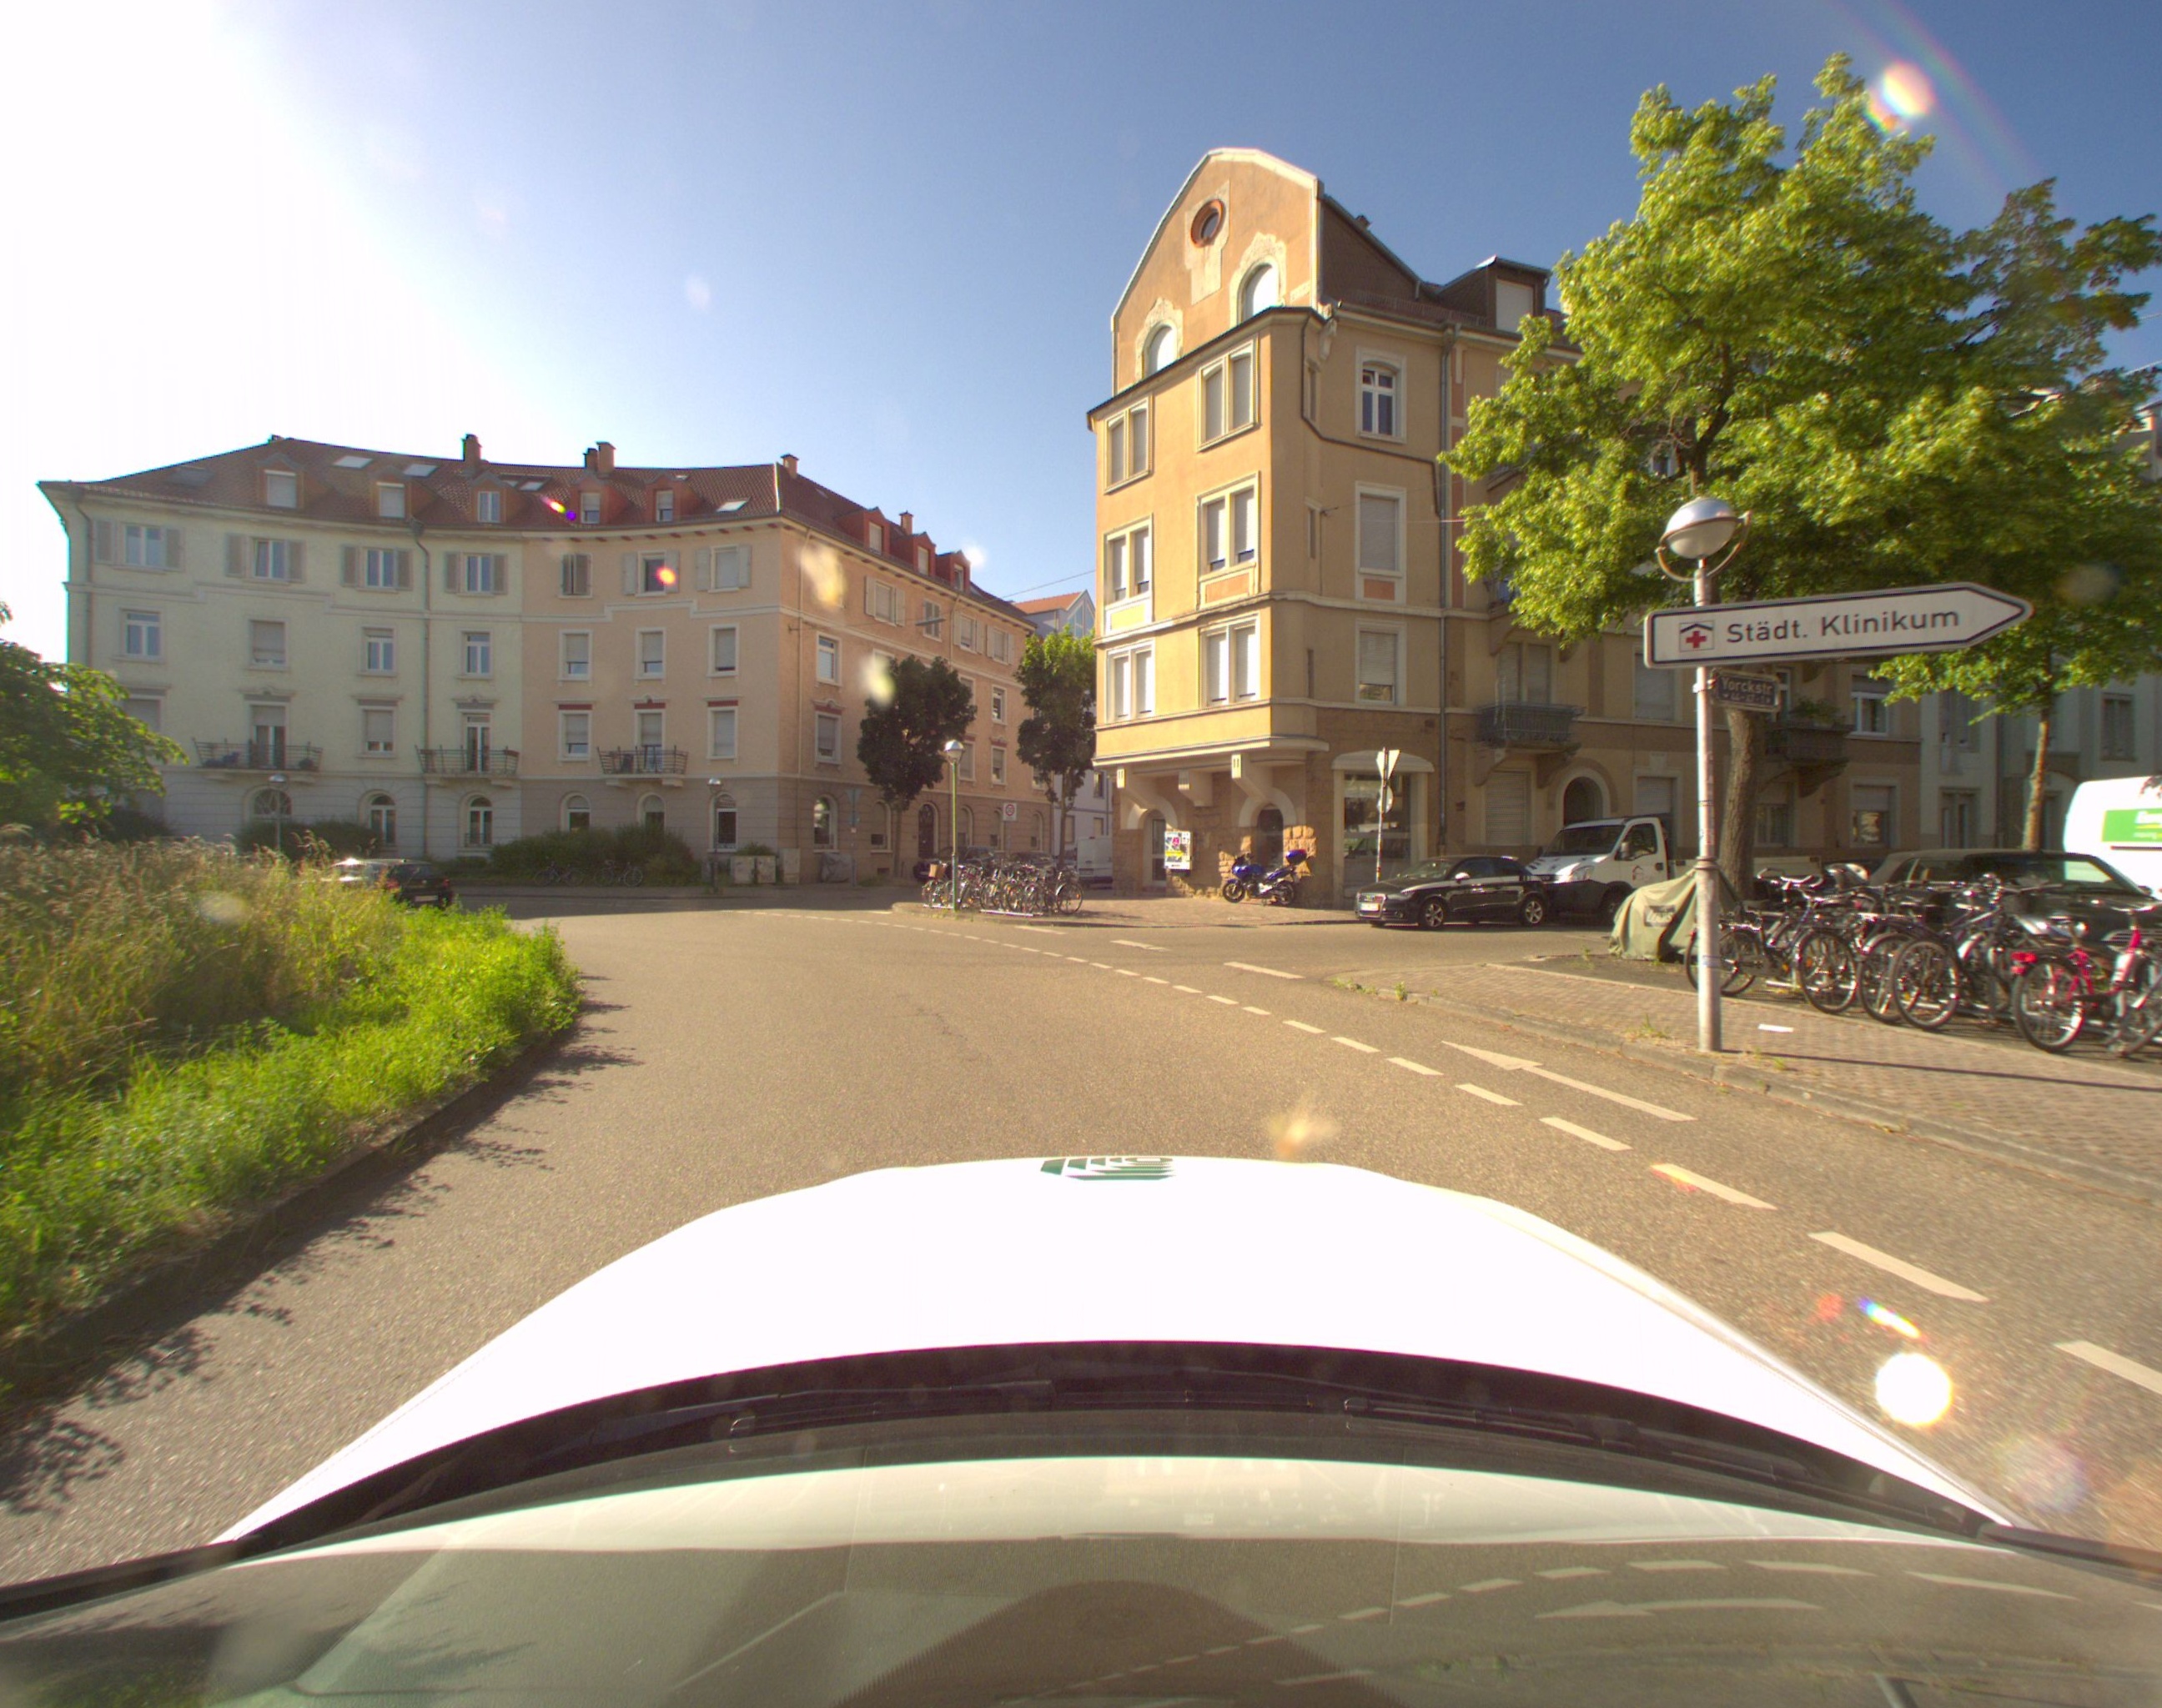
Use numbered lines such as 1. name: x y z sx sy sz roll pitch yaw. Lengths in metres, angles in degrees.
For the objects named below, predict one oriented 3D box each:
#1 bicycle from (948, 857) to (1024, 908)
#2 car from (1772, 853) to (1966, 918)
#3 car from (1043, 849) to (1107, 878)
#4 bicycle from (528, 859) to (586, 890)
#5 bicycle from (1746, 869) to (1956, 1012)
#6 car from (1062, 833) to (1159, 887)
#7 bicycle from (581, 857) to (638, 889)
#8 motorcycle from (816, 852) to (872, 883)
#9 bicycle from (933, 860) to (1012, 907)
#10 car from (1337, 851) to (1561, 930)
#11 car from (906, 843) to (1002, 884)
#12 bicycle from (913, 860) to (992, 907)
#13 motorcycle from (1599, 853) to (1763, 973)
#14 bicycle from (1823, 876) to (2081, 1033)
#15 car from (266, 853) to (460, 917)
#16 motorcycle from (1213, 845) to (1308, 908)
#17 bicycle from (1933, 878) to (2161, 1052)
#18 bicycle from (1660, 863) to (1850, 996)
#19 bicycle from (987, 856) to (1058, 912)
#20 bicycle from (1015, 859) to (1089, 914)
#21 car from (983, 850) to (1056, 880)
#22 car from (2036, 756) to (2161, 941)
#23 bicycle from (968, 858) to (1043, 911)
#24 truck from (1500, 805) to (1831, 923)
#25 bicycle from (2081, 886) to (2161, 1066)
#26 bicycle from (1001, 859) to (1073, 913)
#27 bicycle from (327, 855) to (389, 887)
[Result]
1. bicycle: -2.235 0.659 19.262 1.704 1.145 0.631 0 0 -38
2. car: 18.513 0.696 19.156 3.921 1.390 1.677 0 -1 -19
3. car: -0.280 0.489 44.563 1.680 1.486 4.028 0 0 31
4. bicycle: -18.641 0.716 28.974 1.677 1.088 0.502 0 2 -4
5. bicycle: 6.783 0.720 7.186 1.599 1.126 0.586 -1 1 -14
6. car: 1.244 0.222 31.537 2.115 1.909 4.587 0 0 25
7. bicycle: -16.692 0.676 28.874 1.677 1.088 0.502 0 2 -4
8. motorcycle: -9.873 0.540 33.988 0.931 1.220 2.167 2 1 31
9. bicycle: -2.624 0.695 19.740 1.888 1.090 0.530 0 0 -38
10. car: 7.163 0.654 15.917 3.921 1.390 1.677 0 -1 -19
11. car: -5.430 0.386 35.360 1.885 1.642 4.373 0 0 27
12. bicycle: -3.182 0.708 20.247 1.878 1.130 0.691 1 -2 -43
13. motorcycle: 7.162 0.647 9.832 0.536 1.270 1.706 -1 1 -9
14. bicycle: 6.924 0.750 6.489 1.726 1.088 0.654 -1 1 -14
15. car: -17.598 0.705 19.991 3.954 1.419 1.880 0 1 20
16. motorcycle: 4.382 0.504 20.054 2.223 1.411 0.704 2 3 44
17. bicycle: 7.034 0.755 5.843 1.646 1.102 0.498 -1 1 -13
18. bicycle: 6.565 0.698 7.938 1.676 1.192 0.536 0 1 -14
19. bicycle: -1.294 0.649 18.186 0.446 1.191 1.707 -1 0 44
20. bicycle: -0.607 0.678 17.596 1.728 1.123 0.477 0 0 -43
21. car: -2.946 0.503 39.656 1.680 1.412 3.686 0 0 31
22. car: 15.957 -0.055 10.626 2.077 2.600 6.414 1 2 26
23. bicycle: -1.702 0.673 18.556 0.609 1.145 1.707 -1 0 44
24. truck: 12.684 0.194 17.728 6.610 2.292 2.129 0 -1 -15
25. bicycle: 7.478 0.767 5.390 1.570 1.089 0.417 -1 1 -13
26. bicycle: -0.939 0.678 17.904 0.477 1.123 1.707 -1 0 44
27. bicycle: -25.321 0.601 28.533 1.676 1.088 0.502 0 2 -2
